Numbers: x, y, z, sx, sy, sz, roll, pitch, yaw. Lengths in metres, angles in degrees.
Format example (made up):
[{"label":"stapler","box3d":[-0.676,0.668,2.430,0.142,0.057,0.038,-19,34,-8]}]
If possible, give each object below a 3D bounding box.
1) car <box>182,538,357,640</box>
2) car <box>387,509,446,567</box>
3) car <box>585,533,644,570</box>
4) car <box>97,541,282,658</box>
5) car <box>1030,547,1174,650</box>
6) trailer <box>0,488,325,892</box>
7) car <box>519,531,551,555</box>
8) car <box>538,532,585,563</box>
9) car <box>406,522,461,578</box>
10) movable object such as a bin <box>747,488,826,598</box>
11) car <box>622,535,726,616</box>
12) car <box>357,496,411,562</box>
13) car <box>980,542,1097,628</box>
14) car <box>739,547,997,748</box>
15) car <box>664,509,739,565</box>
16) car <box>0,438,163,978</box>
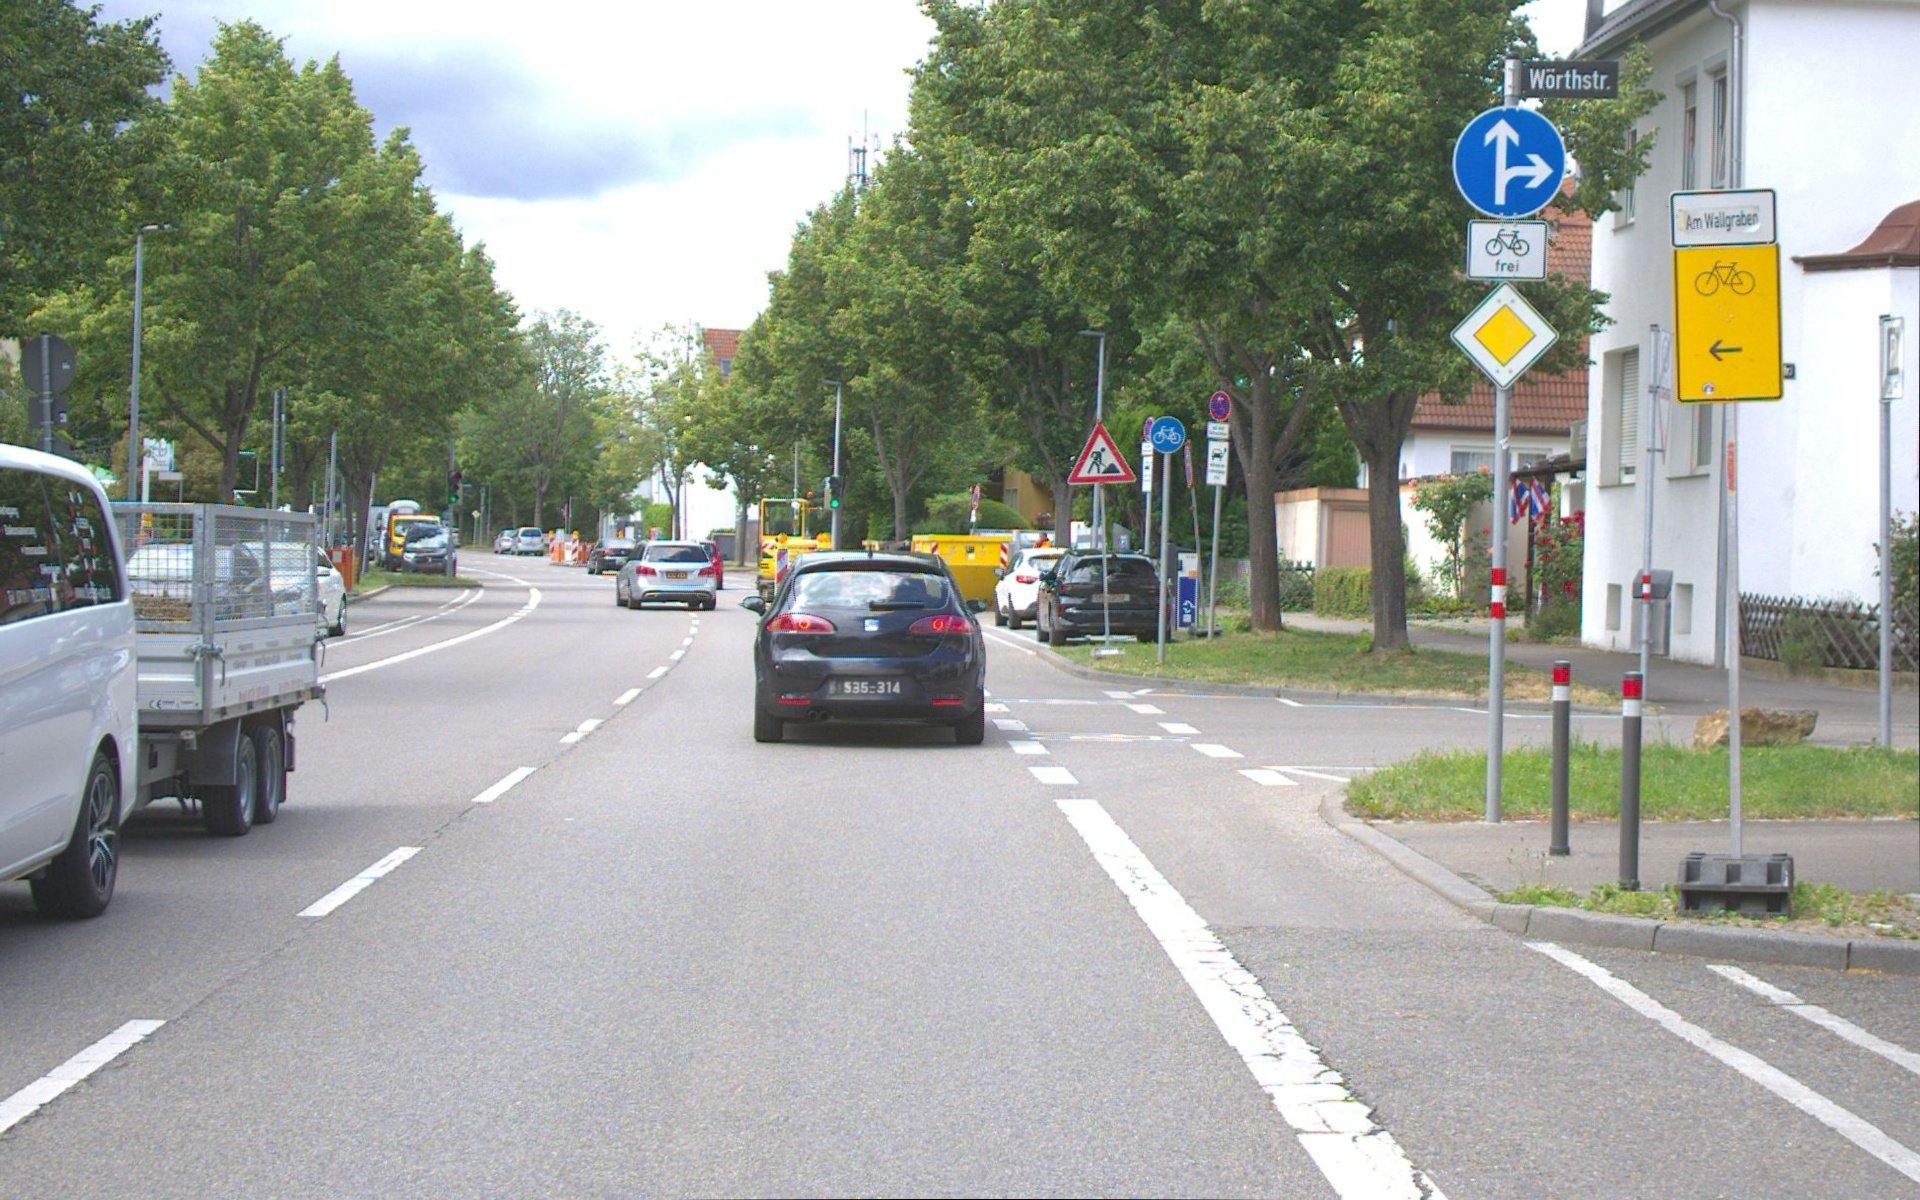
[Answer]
[{"label":"car","box3d":[-10.046,-0.194,50.290,1.714,1.401,4.300,1,1,0]},{"label":"car","box3d":[-20.877,-2.386,131.957,2.092,2.167,5.046,1,1,-10]},{"label":"car","box3d":[-13.226,-1.861,131.501,1.809,1.370,3.694,1,1,-12]},{"label":"car","box3d":[-9.724,-0.041,43.654,1.642,1.415,4.021,0,1,-3]},{"label":"car","box3d":[2.089,-0.055,51.734,1.705,1.449,4.617,1,1,-3]},{"label":"trailer","box3d":[-4.405,0.320,16.616,1.938,1.671,4.689,1,1,-2]},{"label":"car","box3d":[-25.445,-3.413,205.802,1.809,1.410,3.694,1,1,-8]},{"label":"car","box3d":[-19.082,-2.523,164.546,1.809,1.410,3.694,1,1,-13]},{"label":"car","box3d":[-16.874,-1.619,110.106,1.667,1.766,4.469,0,1,-10]},{"label":"movable object such as a bin","box3d":[-4.238,-1.386,83.619,1.768,2.565,3.740,1,1,-4]},{"label":"car","box3d":[-6.166,-0.553,73.854,1.905,1.680,3.741,0,1,-10]},{"label":"car","box3d":[-23.856,-2.939,142.202,2.092,2.617,5.046,1,1,-10]},{"label":"car","box3d":[1.370,-0.292,61.591,1.672,1.457,4.001,1,1,-5]},{"label":"car","box3d":[-0.785,0.316,26.783,1.818,1.433,3.740,0,1,-4]},{"label":"car","box3d":[-7.710,-1.889,102.139,1.790,1.617,3.741,0,1,-11]},{"label":"car","box3d":[-4.225,0.345,11.851,1.966,1.824,4.819,1,1,-2]}]
